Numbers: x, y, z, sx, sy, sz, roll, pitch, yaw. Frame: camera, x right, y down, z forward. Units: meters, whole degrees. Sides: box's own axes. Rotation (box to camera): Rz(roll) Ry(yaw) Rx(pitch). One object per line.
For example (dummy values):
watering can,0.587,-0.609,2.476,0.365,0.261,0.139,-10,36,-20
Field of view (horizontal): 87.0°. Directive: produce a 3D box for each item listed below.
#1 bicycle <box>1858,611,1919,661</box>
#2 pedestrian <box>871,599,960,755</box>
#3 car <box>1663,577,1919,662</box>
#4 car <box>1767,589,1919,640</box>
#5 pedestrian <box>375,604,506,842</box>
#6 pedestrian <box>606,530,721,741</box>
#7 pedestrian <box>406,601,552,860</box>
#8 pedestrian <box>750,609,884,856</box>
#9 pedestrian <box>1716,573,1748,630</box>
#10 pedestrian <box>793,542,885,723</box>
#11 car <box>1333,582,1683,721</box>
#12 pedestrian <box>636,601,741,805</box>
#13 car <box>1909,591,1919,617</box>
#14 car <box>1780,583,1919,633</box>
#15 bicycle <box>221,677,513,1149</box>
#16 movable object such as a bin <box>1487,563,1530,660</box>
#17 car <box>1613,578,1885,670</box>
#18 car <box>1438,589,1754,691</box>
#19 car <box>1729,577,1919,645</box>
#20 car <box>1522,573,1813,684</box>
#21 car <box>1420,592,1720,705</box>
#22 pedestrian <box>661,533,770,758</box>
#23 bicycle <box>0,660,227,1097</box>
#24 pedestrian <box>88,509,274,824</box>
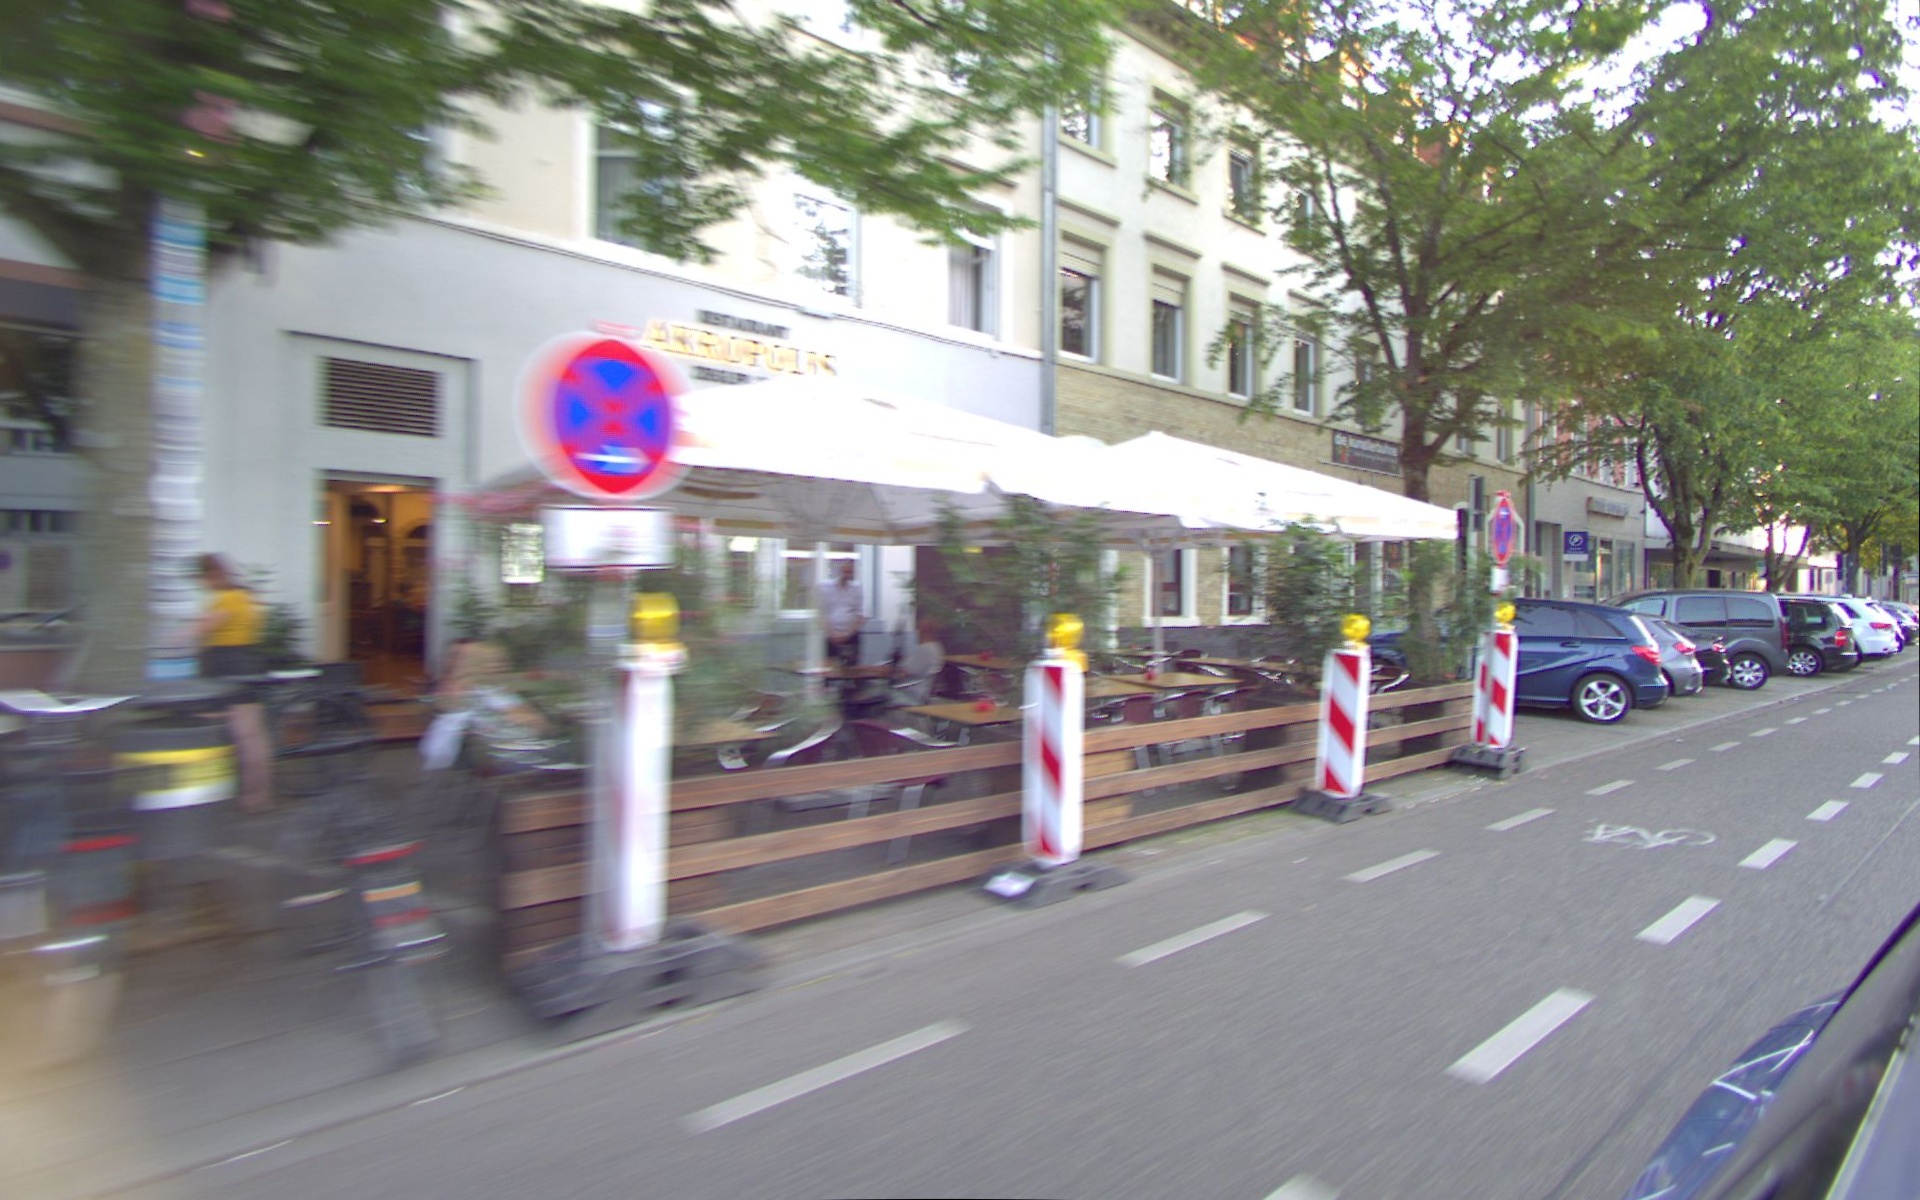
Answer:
bicycle,23.222,0.896,24.704,1.831,1.116,0.491,4,2,36
pedestrian,-0.390,0.657,9.037,0.546,1.323,0.710,-1,-1,22
car,20.152,0.399,24.581,1.973,1.708,4.658,0,3,-41
car,31.152,0.487,35.375,4.120,1.483,1.957,3,2,22
pedestrian,-3.079,0.683,5.998,0.589,1.308,0.503,0,0,-41
pedestrian,-2.643,0.298,9.064,0.548,1.785,0.843,-1,-1,32
pedestrian,-2.633,0.666,5.539,0.590,1.308,0.502,0,0,-44
pedestrian,-0.819,0.708,5.773,0.589,1.309,0.503,0,-1,-36
pedestrian,27.794,0.060,36.452,0.772,2.010,0.693,0,2,-41
pedestrian,-1.244,0.323,10.486,0.696,1.785,0.710,-1,-1,23
car,7.257,0.593,13.815,3.932,1.572,1.692,2,2,25
pedestrian,-1.859,0.664,6.918,0.495,1.309,0.599,0,-1,-39
car,58.019,0.351,58.243,4.556,1.532,1.848,3,1,23
car,35.010,0.297,39.551,4.109,1.684,1.834,3,2,16
bicycle,-2.126,0.902,3.515,0.547,1.044,1.682,0,3,-42
movable object such as a bin,11.749,0.245,21.675,0.683,2.039,0.614,0,0,-42
car,17.848,0.460,23.055,4.652,1.708,1.975,4,3,45
car,10.806,0.613,17.583,4.270,1.406,1.795,3,2,20
car,28.082,0.311,32.611,4.943,1.849,2.183,4,3,32
car,13.267,0.457,19.334,4.112,1.829,1.994,2,2,22
car,9.230,0.656,15.641,3.751,1.425,1.689,2,2,29
pedestrian,-2.044,0.361,8.494,0.548,1.785,0.707,-1,-1,32
bicycle,-3.181,0.851,3.724,0.598,1.044,1.819,0,3,-42
pedestrian,-4.792,0.375,6.241,0.878,1.785,0.551,0,-1,-41
